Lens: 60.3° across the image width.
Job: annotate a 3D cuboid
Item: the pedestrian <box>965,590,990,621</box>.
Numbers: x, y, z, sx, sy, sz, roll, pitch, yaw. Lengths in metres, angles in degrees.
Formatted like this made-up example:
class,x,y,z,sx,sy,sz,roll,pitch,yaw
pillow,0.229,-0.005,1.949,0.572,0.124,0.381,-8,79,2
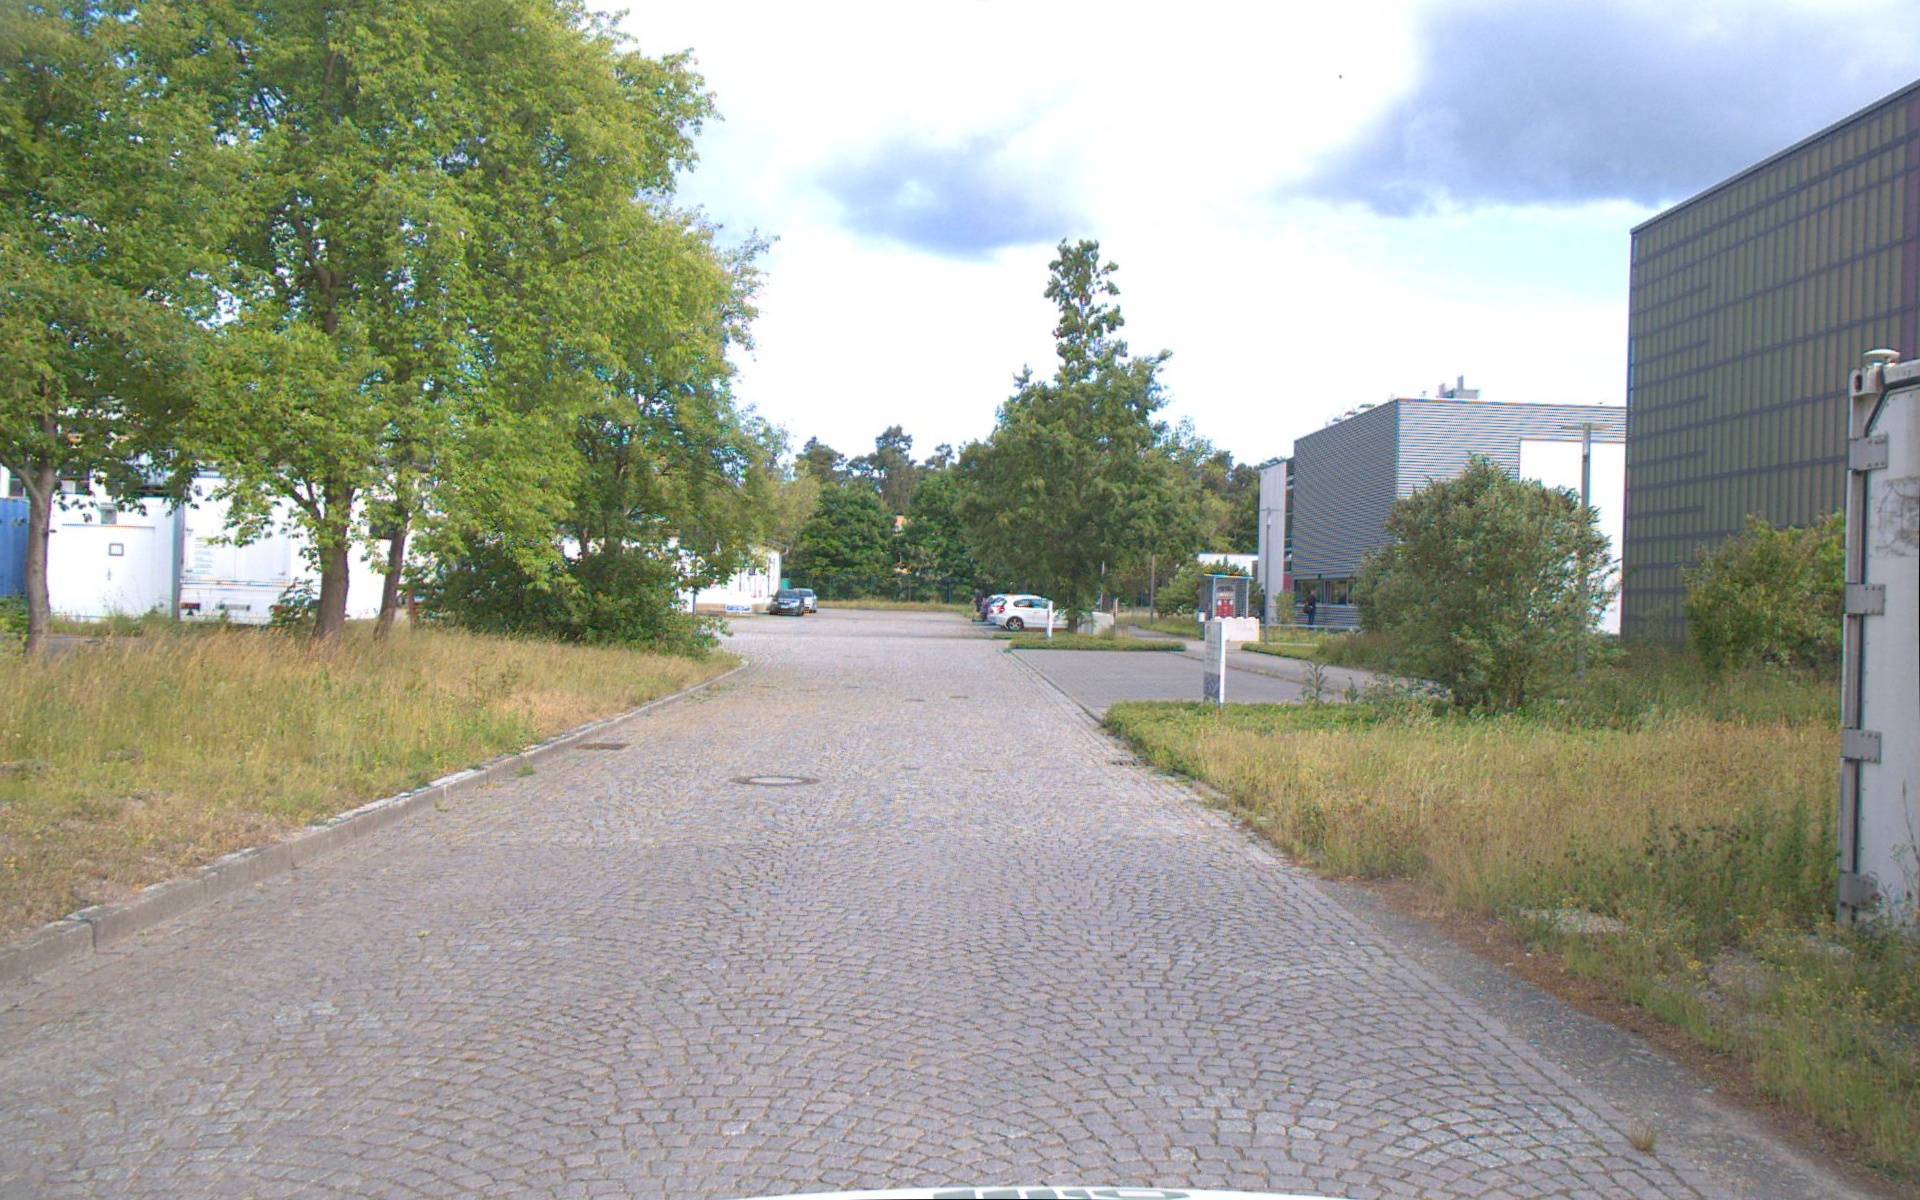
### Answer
class,x,y,z,sx,sy,sz,roll,pitch,yaw
pedestrian,0.914,0.297,86.100,0.952,1.595,0.938,1,0,38

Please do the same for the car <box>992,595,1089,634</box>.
class,x,y,z,sx,sy,sz,roll,pitch,yaw
car,3.358,0.598,69.399,3.906,1.481,1.999,2,-1,-1

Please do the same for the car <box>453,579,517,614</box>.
class,x,y,z,sx,sy,sz,roll,pitch,yaw
car,-22.871,-0.176,79.759,1.862,1.602,4.000,1,0,0

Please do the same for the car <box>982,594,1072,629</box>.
class,x,y,z,sx,sy,sz,roll,pitch,yaw
car,2.999,0.529,74.598,3.906,1.481,1.769,1,0,-1

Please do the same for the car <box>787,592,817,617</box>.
class,x,y,z,sx,sy,sz,roll,pitch,yaw
car,-9.855,0.246,103.230,1.714,1.480,3.997,1,0,-4

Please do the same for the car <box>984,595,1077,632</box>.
class,x,y,z,sx,sy,sz,roll,pitch,yaw
car,3.016,0.582,71.558,3.906,1.481,1.697,1,0,-1

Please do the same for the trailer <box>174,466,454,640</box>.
class,x,y,z,sx,sy,sz,roll,pitch,yaw
trailer,-15.792,-1.040,41.615,2.602,3.770,10.722,1,0,1

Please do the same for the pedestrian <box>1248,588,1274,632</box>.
class,x,y,z,sx,sy,sz,roll,pitch,yaw
pedestrian,14.245,0.476,78.305,0.903,2.049,1.145,1,0,-7

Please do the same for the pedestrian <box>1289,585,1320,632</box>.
class,x,y,z,sx,sy,sz,roll,pitch,yaw
pedestrian,14.597,0.371,70.067,0.908,1.970,0.846,2,0,-32

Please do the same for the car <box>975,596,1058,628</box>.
class,x,y,z,sx,sy,sz,roll,pitch,yaw
car,2.702,0.570,79.494,3.906,1.481,1.769,1,0,-1

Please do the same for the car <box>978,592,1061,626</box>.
class,x,y,z,sx,sy,sz,roll,pitch,yaw
car,2.945,0.445,82.717,3.909,1.560,1.998,1,0,-5

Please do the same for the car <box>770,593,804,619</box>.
class,x,y,z,sx,sy,sz,roll,pitch,yaw
car,-9.721,0.303,93.001,1.714,1.388,3.997,1,0,-4

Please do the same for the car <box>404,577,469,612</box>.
class,x,y,z,sx,sy,sz,roll,pitch,yaw
car,-25.505,-0.259,80.663,1.862,1.602,4.000,1,0,0
